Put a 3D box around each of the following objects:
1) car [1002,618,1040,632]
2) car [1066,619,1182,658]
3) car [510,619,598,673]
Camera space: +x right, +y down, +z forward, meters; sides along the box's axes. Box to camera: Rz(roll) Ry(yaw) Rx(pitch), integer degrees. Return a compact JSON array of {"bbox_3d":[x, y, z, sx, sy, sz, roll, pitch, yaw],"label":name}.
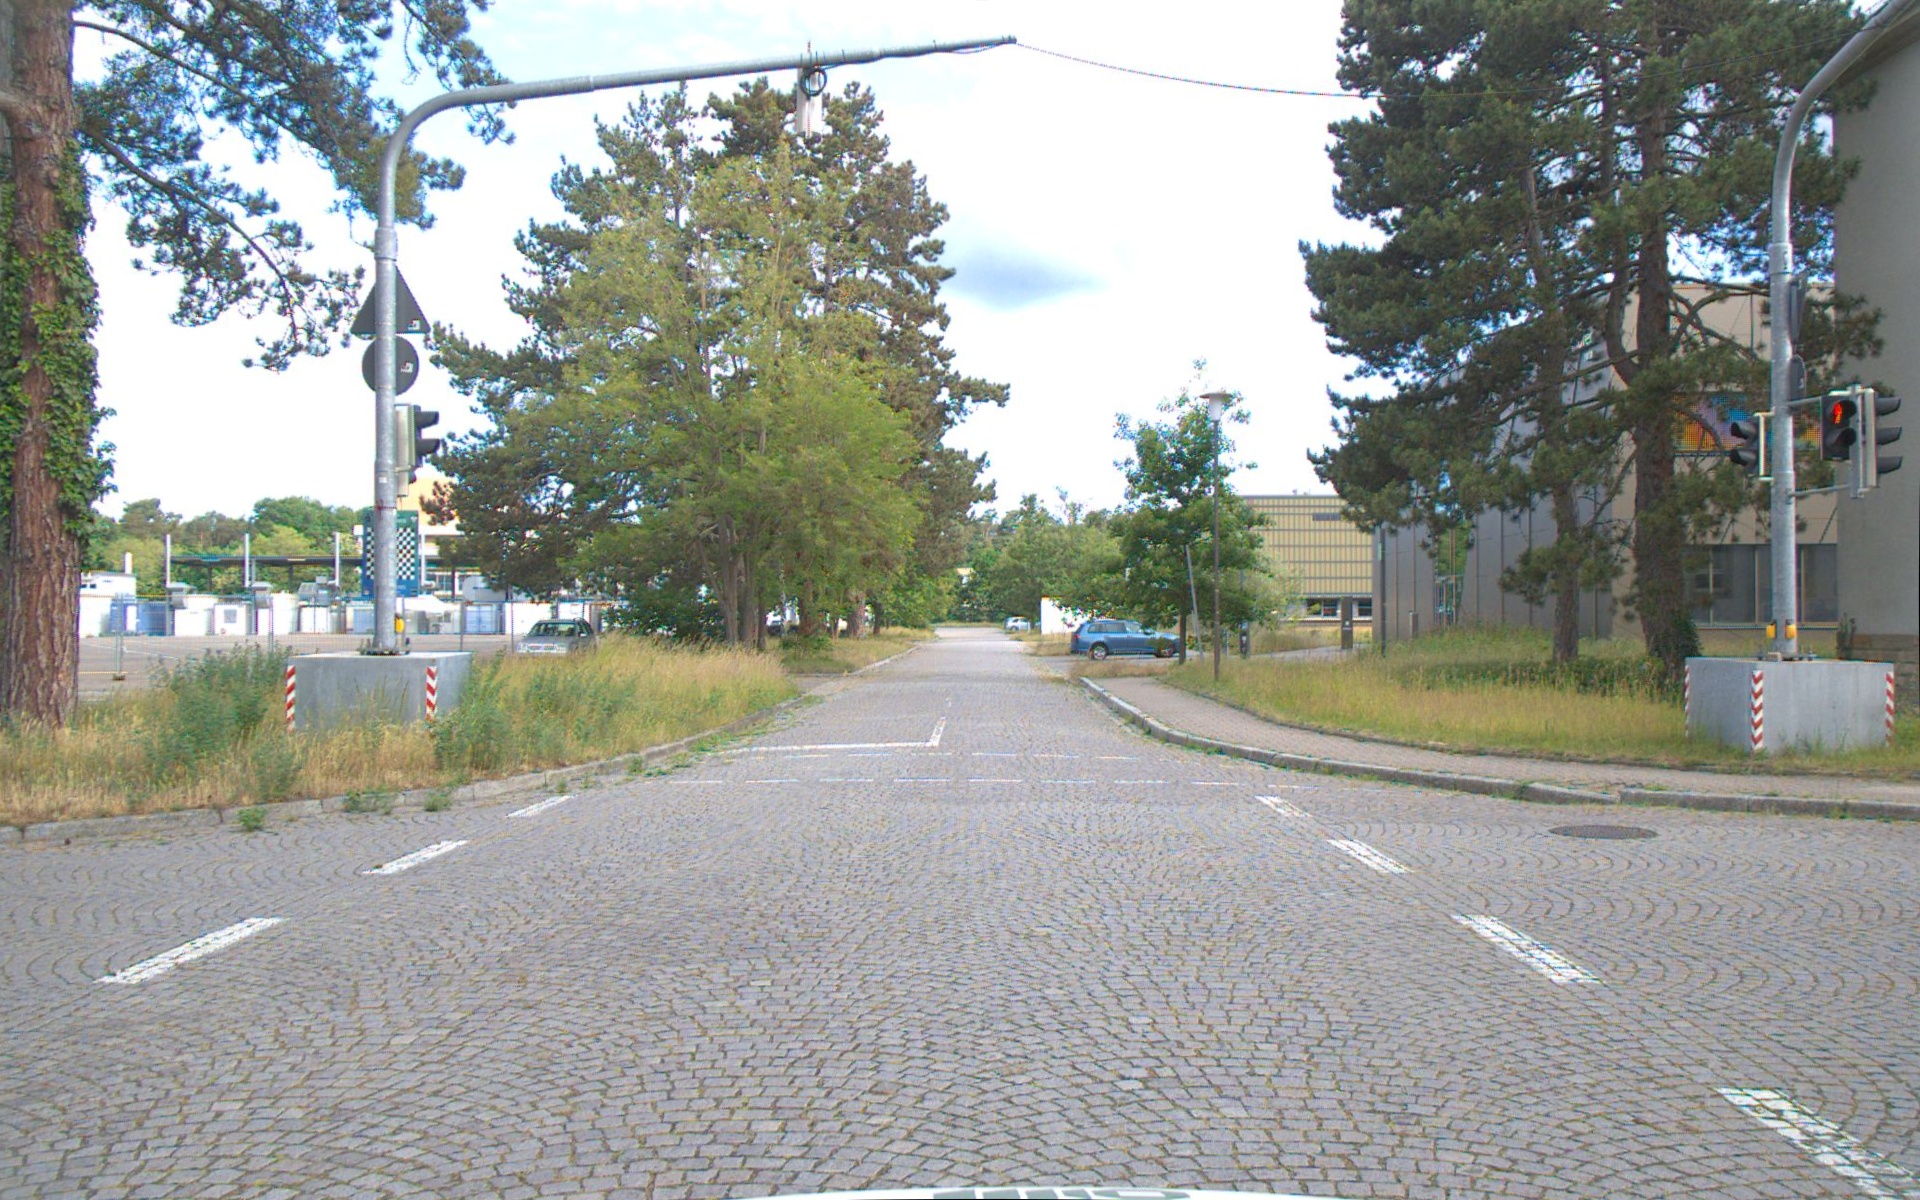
[{"bbox_3d":[6.632,2.731,181.002,3.909,1.422,1.998,0,-1,-5],"label":"car"},{"bbox_3d":[6.310,1.471,63.929,4.256,1.447,1.999,0,-1,-2],"label":"car"},{"bbox_3d":[-12.033,1.331,49.188,1.580,1.513,4.000,0,-1,1],"label":"car"}]
